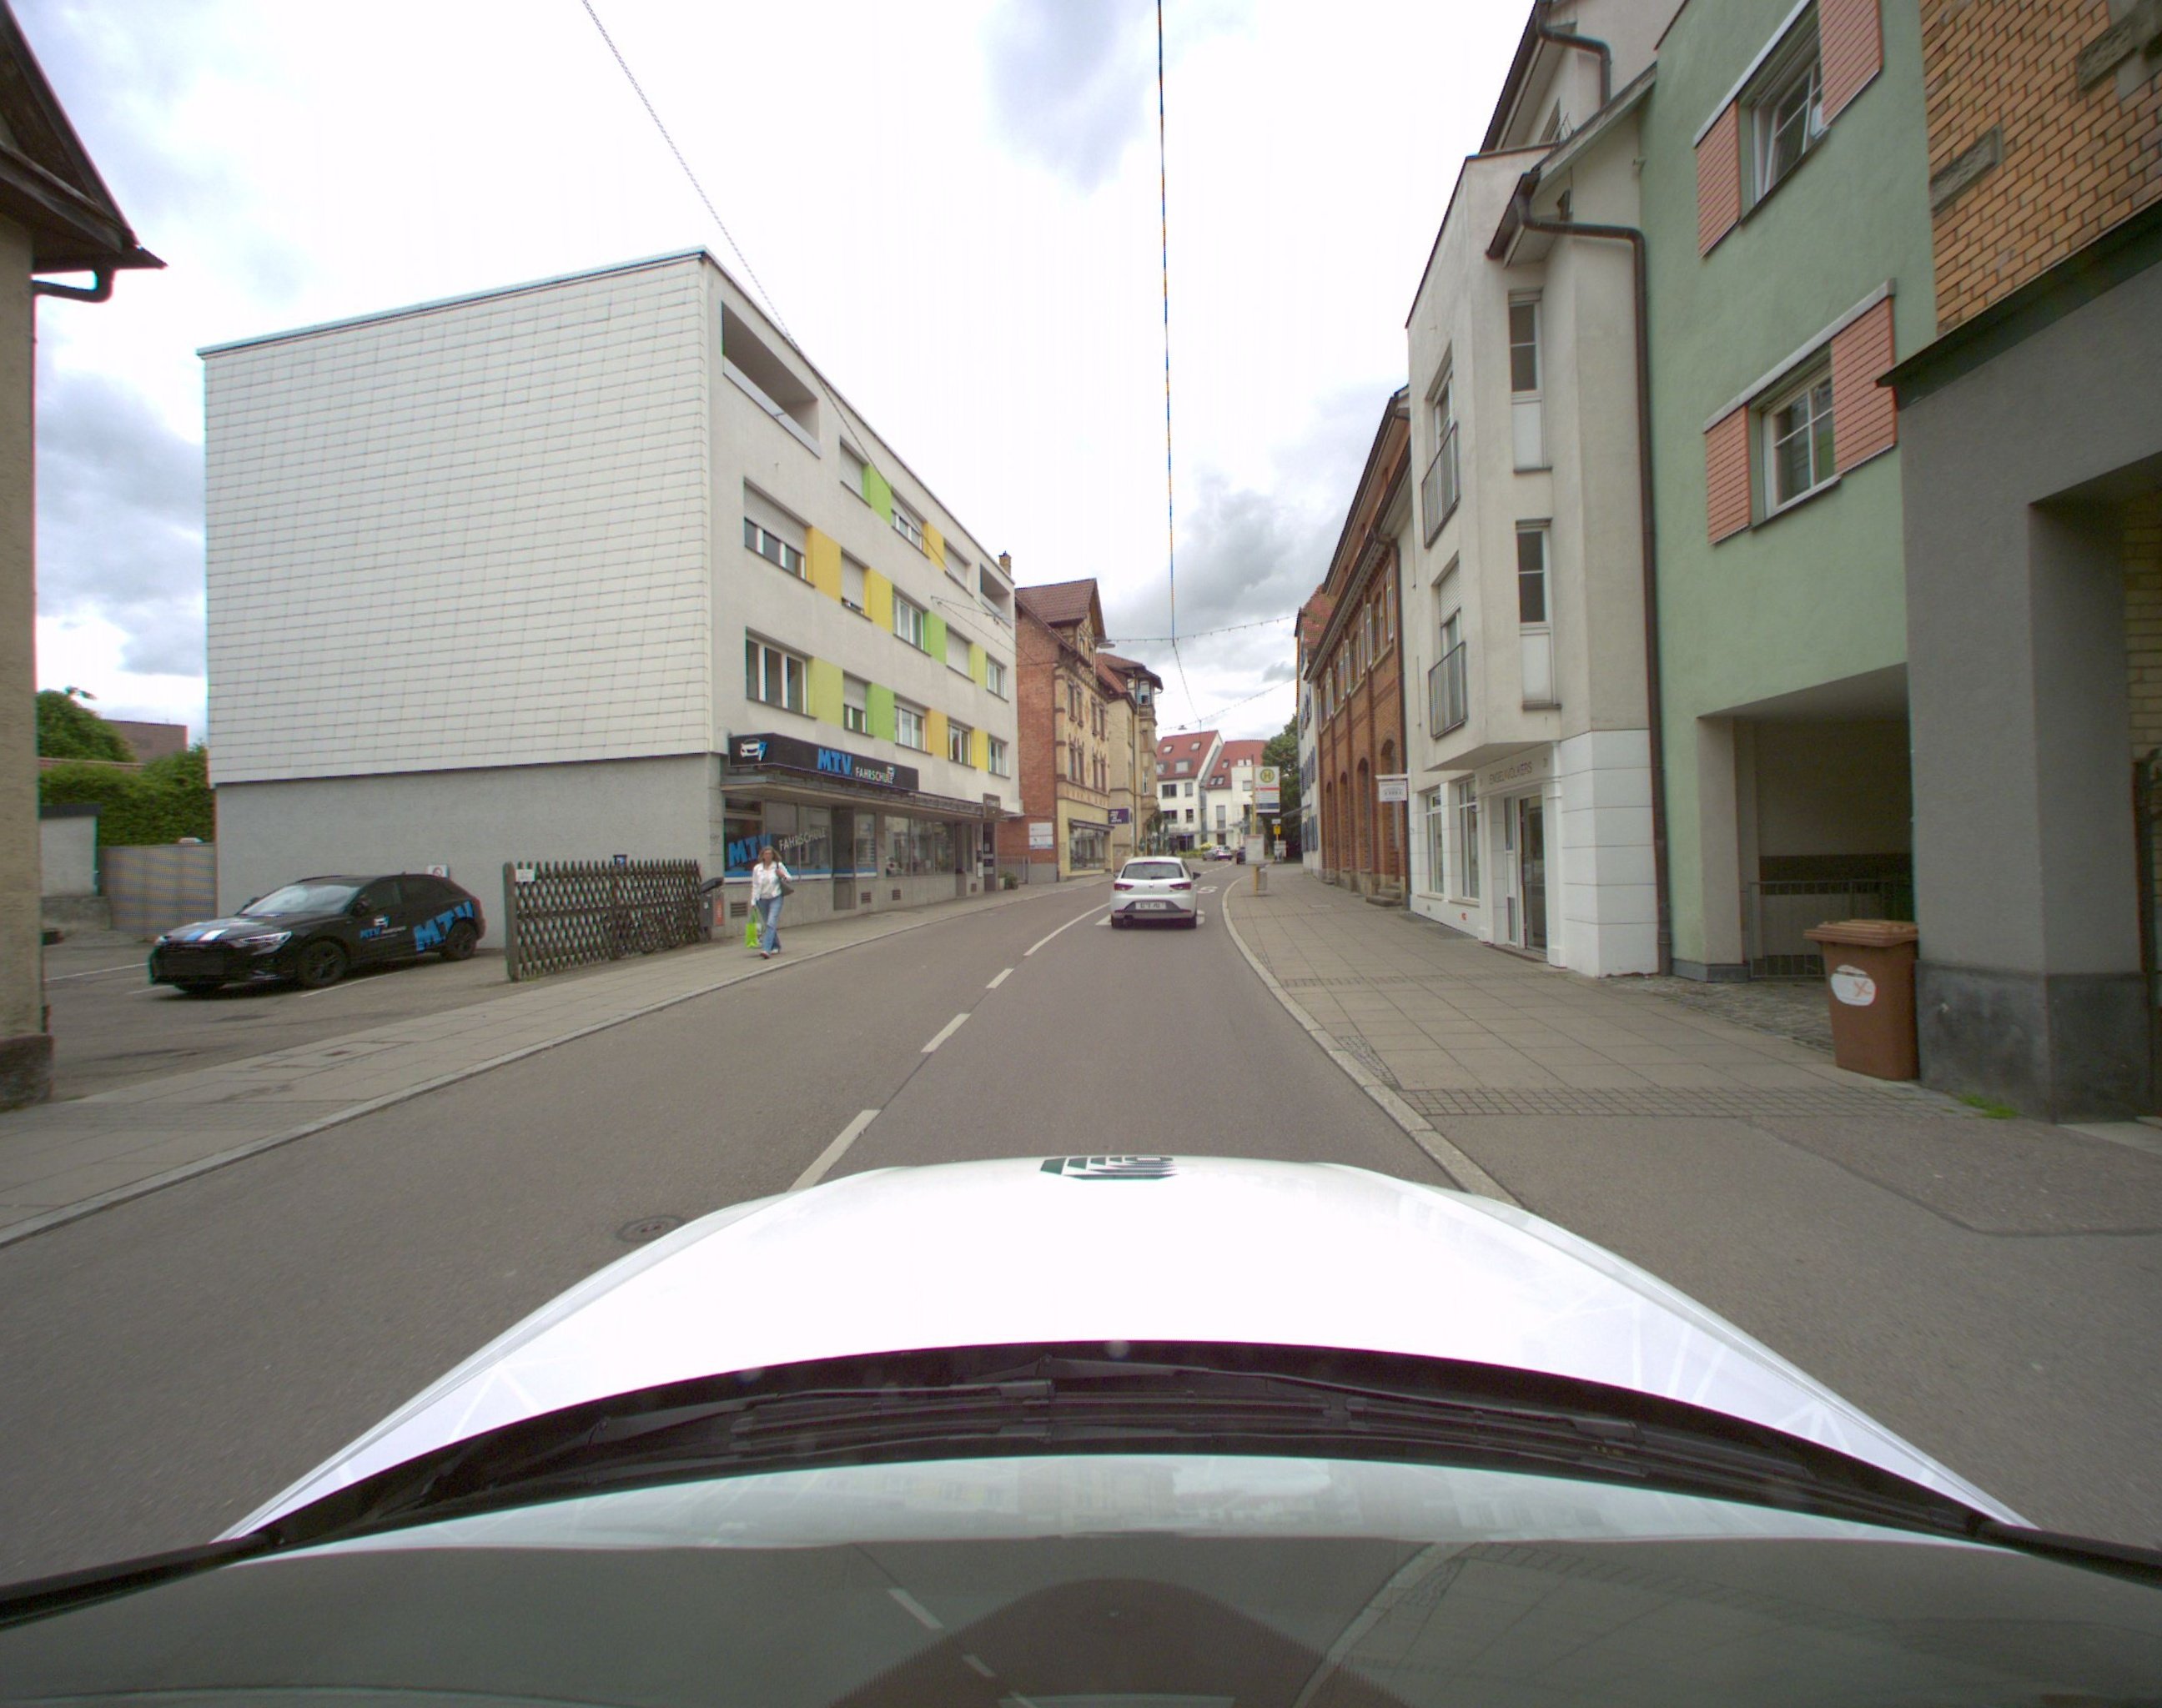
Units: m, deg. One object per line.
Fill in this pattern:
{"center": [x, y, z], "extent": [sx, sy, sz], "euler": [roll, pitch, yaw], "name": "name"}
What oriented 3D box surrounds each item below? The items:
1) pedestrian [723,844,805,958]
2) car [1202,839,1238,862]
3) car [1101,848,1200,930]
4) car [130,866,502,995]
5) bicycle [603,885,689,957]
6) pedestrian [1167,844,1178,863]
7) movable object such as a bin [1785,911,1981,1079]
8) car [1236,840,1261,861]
{"center": [-4.864, 0.696, 12.560], "extent": [0.890, 1.665, 0.861], "euler": [-2, 0, -2], "name": "pedestrian"}
{"center": [13.065, -0.325, 76.804], "extent": [1.995, 2.013, 3.983], "euler": [-2, 0, -12], "name": "car"}
{"center": [1.620, 0.671, 17.650], "extent": [1.800, 1.480, 3.881], "euler": [-1, 1, 9], "name": "car"}
{"center": [-11.731, 1.053, 13.023], "extent": [1.989, 1.563, 4.283], "euler": [-2, 0, -3], "name": "car"}
{"center": [-7.300, 1.098, 13.746], "extent": [0.321, 1.053, 1.752], "euler": [-2, 0, 6], "name": "bicycle"}
{"center": [7.677, -0.075, 68.158], "extent": [0.829, 1.552, 0.629], "euler": [-2, 0, 7], "name": "pedestrian"}
{"center": [4.903, 0.843, 5.016], "extent": [0.616, 0.921, 0.582], "euler": [-2, 0, 5], "name": "movable object such as a bin"}
{"center": [13.155, -0.297, 64.067], "extent": [1.799, 1.480, 3.883], "euler": [-2, 1, 12], "name": "car"}
